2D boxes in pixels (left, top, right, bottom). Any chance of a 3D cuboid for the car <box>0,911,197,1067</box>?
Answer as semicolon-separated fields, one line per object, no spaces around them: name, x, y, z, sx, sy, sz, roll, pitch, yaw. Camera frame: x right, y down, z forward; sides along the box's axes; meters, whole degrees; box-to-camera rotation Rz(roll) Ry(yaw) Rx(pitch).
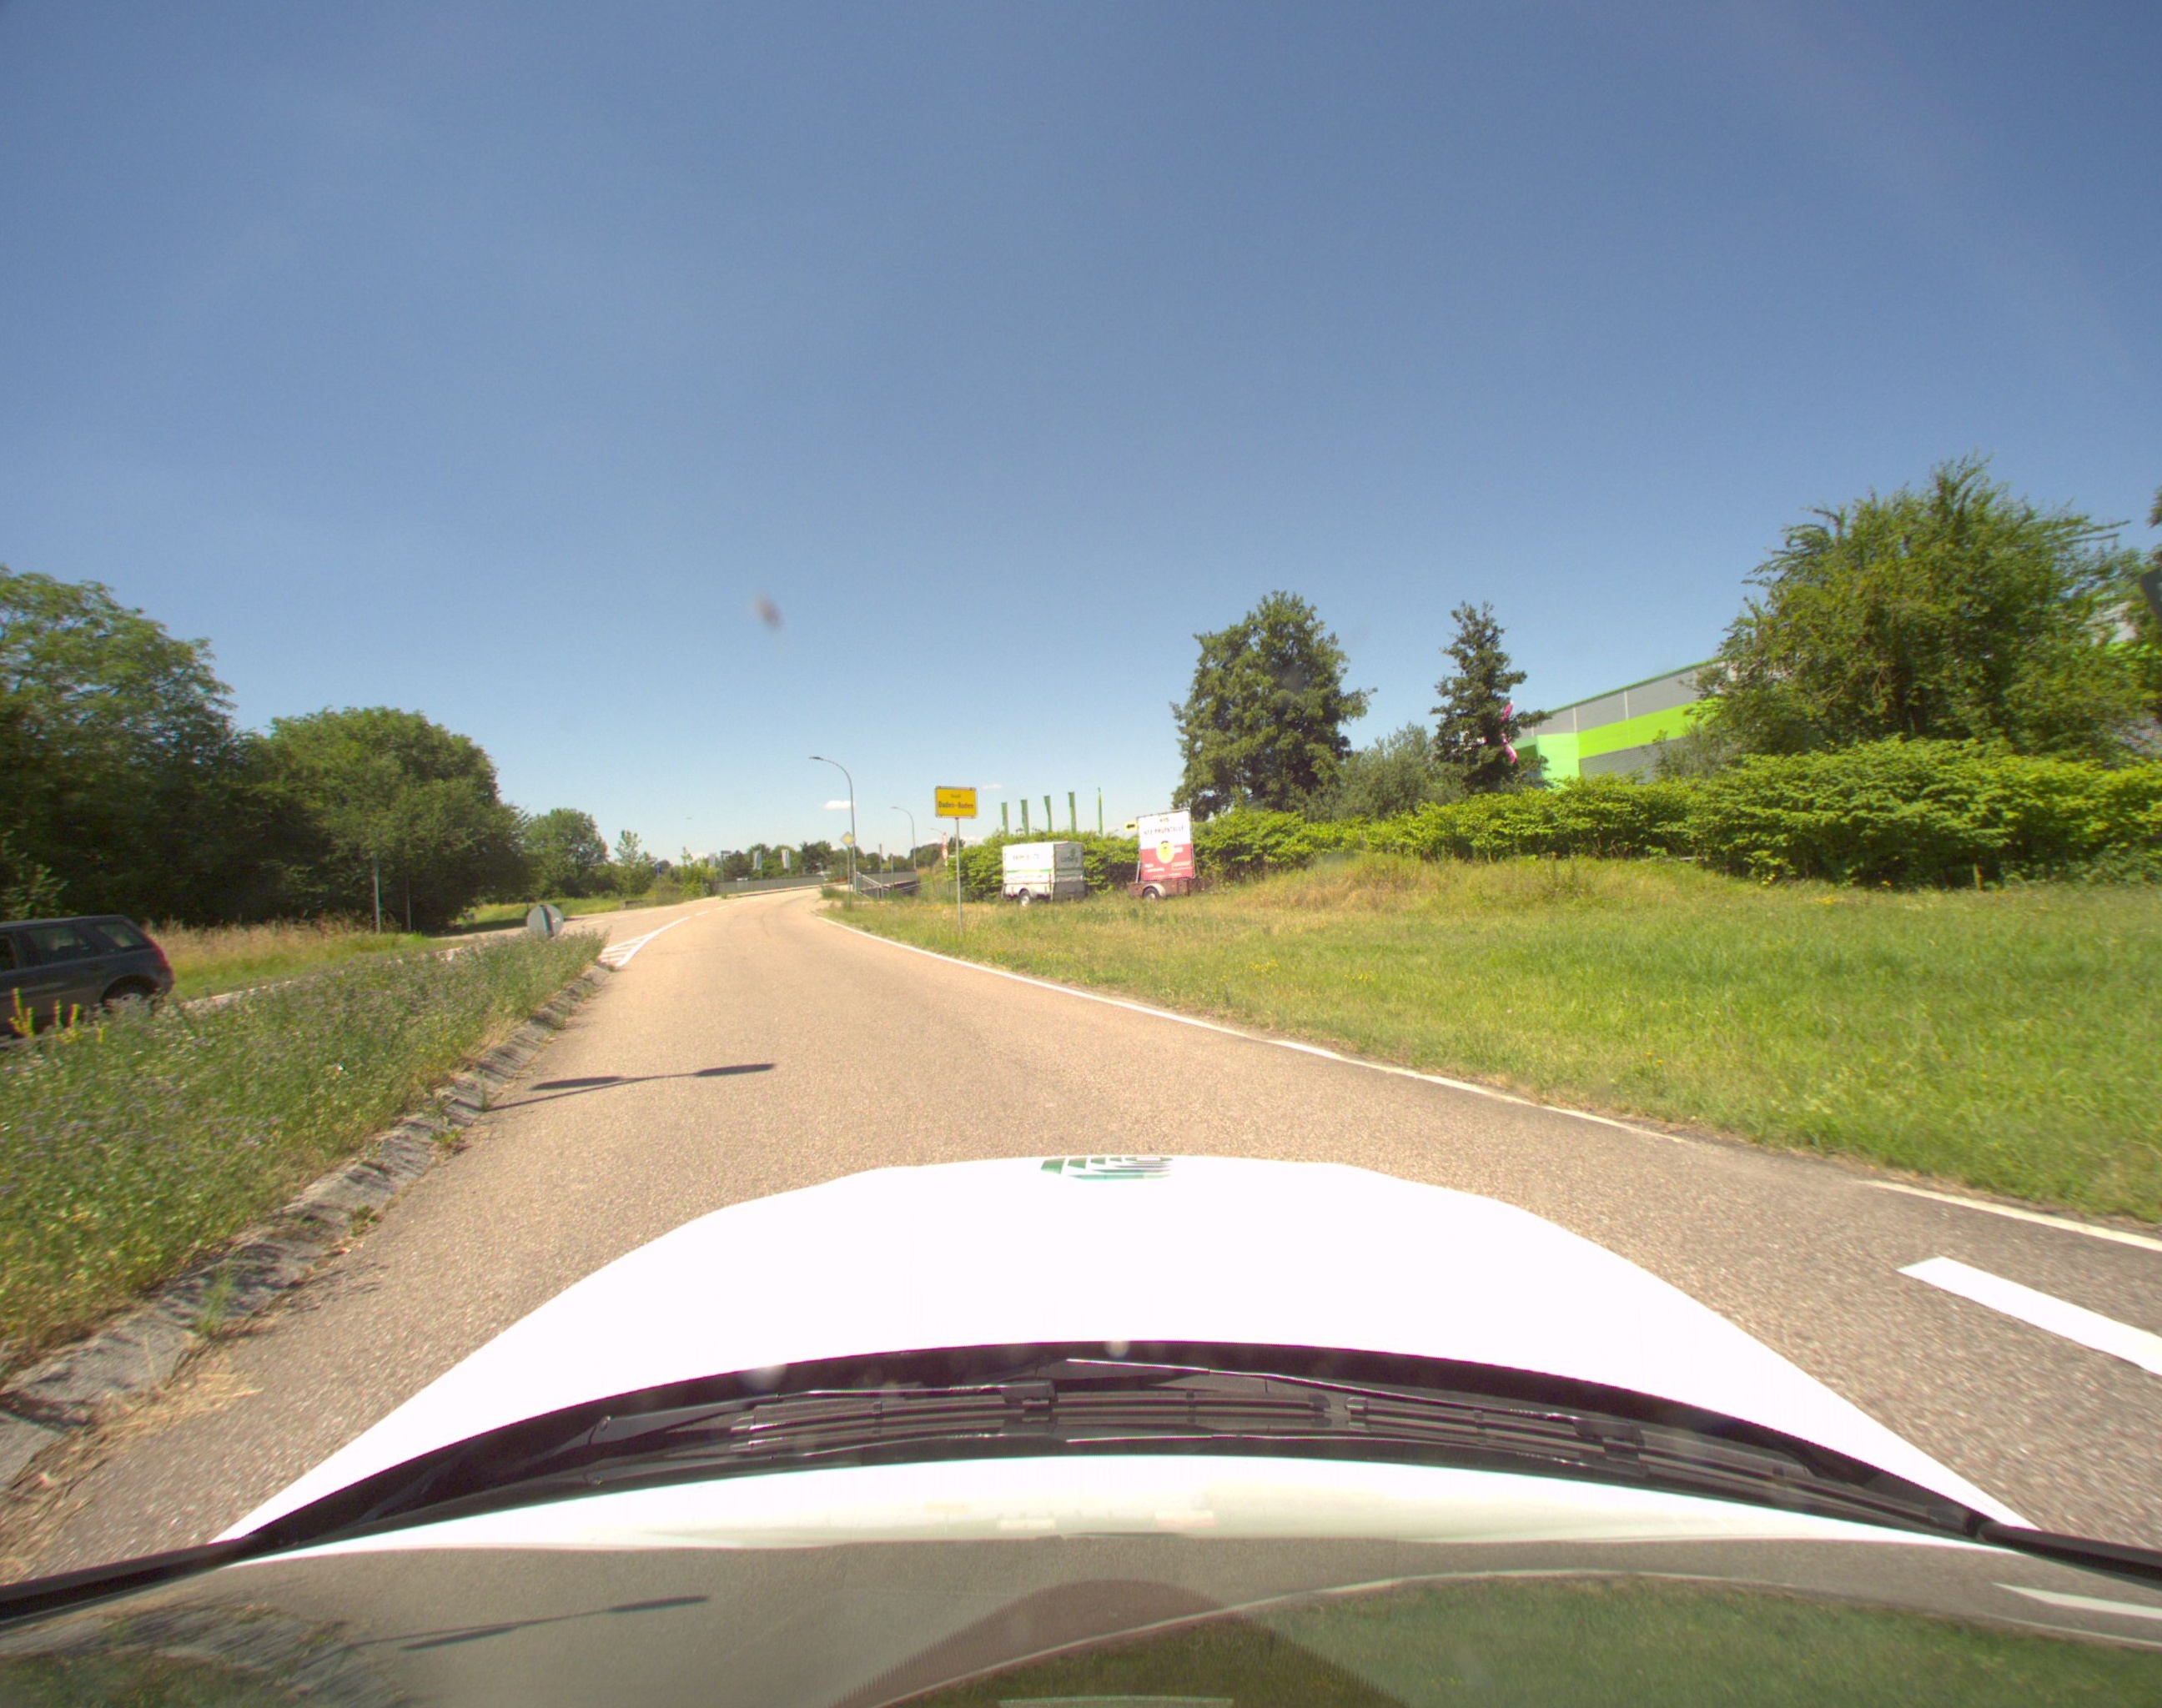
car;-14.059;1.797;9.921;1.994;1.721;4.469;-6;0;-10

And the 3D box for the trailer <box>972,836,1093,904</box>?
trailer;-1.723;0.576;27.977;3.919;2.078;1.863;-4;-2;43

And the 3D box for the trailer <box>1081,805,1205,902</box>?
trailer;1.830;0.032;24.588;3.107;2.670;1.863;-5;-2;43
